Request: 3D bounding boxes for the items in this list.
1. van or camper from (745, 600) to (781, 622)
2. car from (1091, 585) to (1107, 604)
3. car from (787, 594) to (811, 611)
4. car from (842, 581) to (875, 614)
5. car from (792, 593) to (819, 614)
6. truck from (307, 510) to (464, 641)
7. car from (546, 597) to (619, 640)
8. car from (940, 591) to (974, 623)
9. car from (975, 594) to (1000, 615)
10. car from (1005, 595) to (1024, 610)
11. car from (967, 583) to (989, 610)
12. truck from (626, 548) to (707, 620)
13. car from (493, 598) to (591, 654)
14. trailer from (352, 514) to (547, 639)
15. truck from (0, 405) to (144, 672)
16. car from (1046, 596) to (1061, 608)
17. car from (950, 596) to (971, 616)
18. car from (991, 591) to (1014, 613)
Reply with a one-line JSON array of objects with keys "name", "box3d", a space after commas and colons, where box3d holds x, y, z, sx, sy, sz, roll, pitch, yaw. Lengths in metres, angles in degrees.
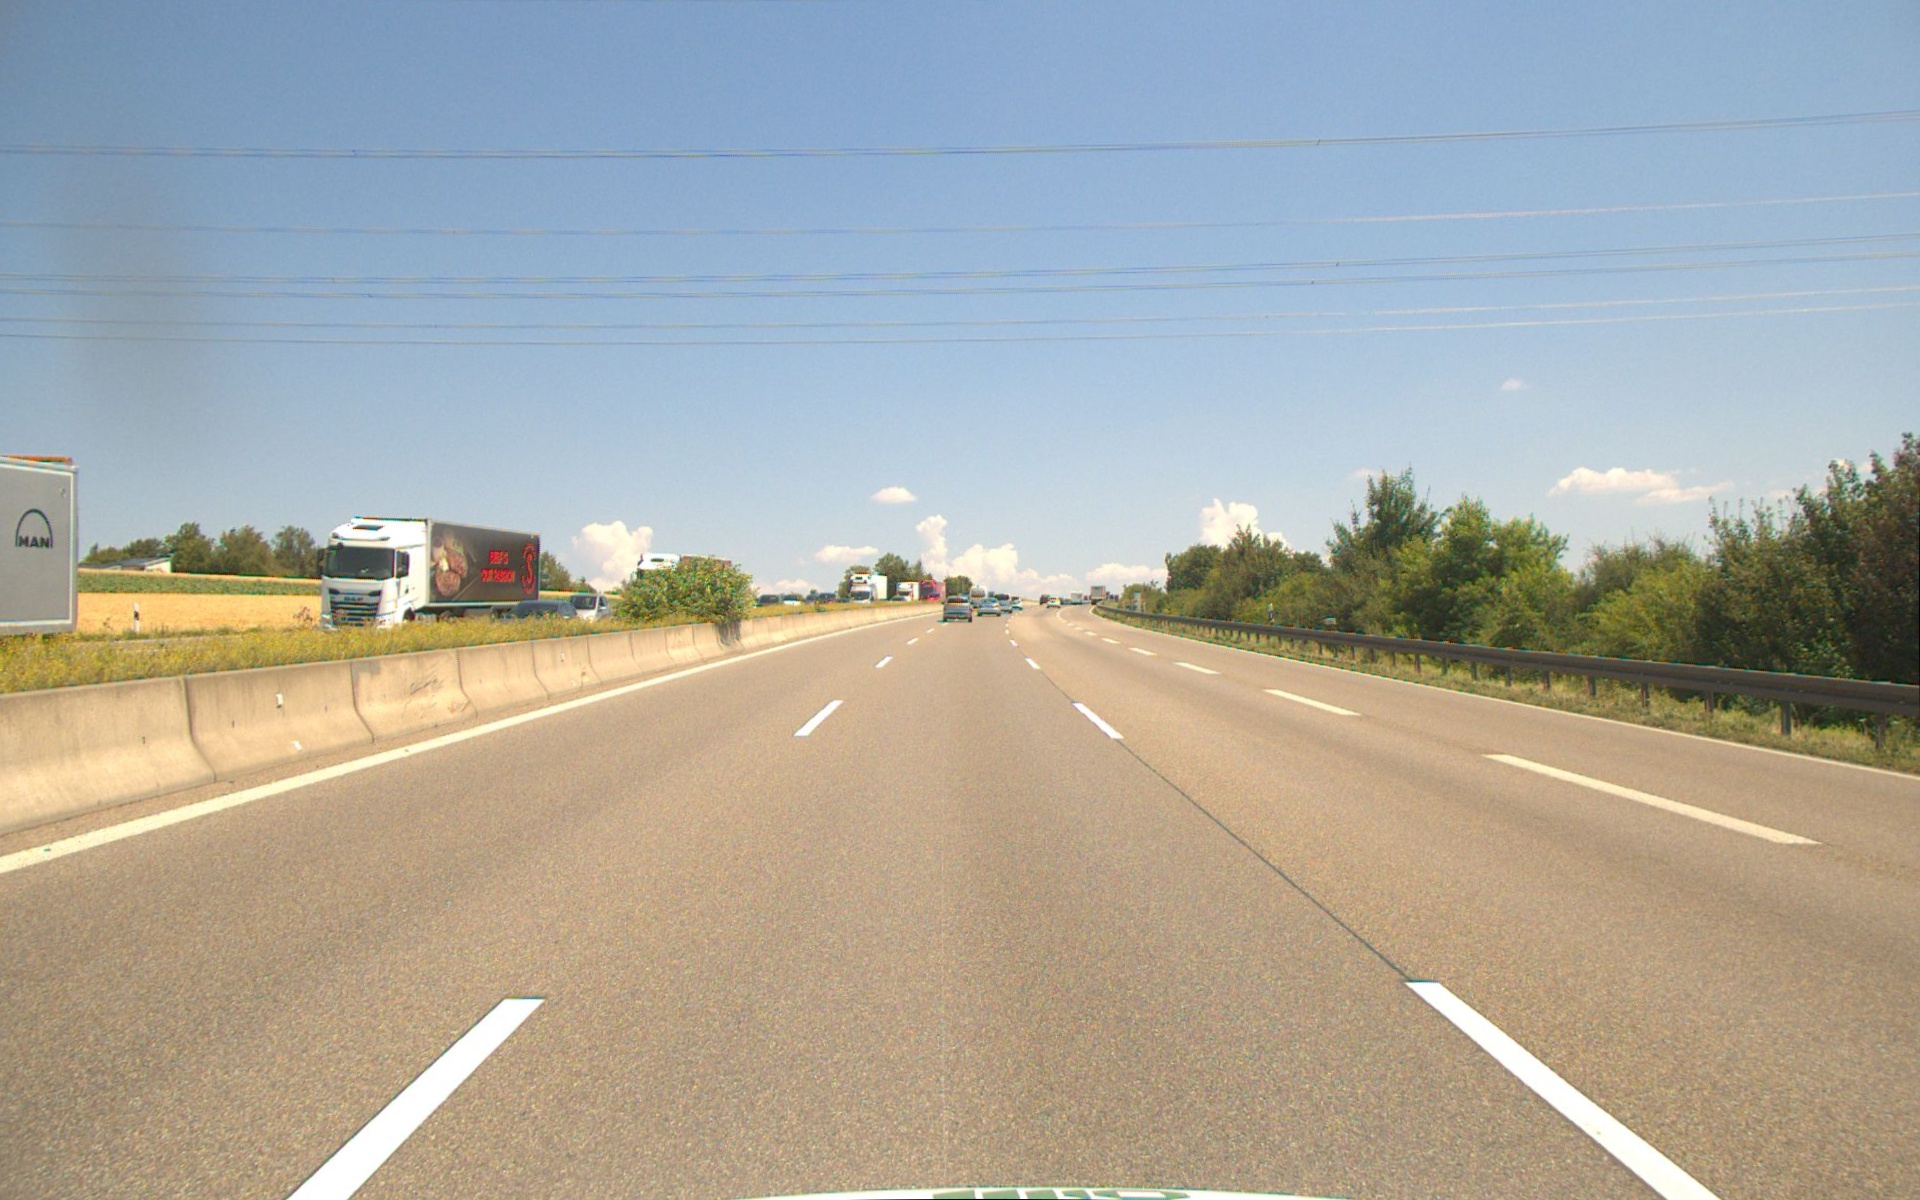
[{"name": "van or camper", "box3d": [-13.737, 0.760, 115.393, 1.952, 1.478, 4.000, 0, 0, 0]}, {"name": "car", "box3d": [17.396, -0.642, 207.252, 1.951, 2.341, 6.266, 0, 0, 4]}, {"name": "car", "box3d": [-16.320, 0.264, 168.011, 1.952, 1.646, 4.001, 1, 0, 1]}, {"name": "car", "box3d": [-8.862, -0.210, 144.669, 2.355, 2.726, 6.037, 1, 0, 1]}, {"name": "car", "box3d": [-13.776, 0.307, 147.813, 1.952, 1.881, 4.000, 1, 0, 1]}, {"name": "truck", "box3d": [-19.149, -0.767, 55.542, 2.794, 4.098, 6.515, 1, 0, 1]}, {"name": "car", "box3d": [-14.733, 0.701, 64.766, 1.953, 1.606, 4.000, 1, 0, 0]}, {"name": "car", "box3d": [-0.203, 0.425, 102.438, 1.953, 1.781, 3.998, 1, -3, -1]}, {"name": "car", "box3d": [2.221, 0.393, 132.019, 1.952, 1.613, 4.000, 0, -1, 1]}, {"name": "car", "box3d": [6.331, 0.296, 192.286, 1.952, 1.579, 4.002, 2, 0, 4]}, {"name": "car", "box3d": [1.950, -0.343, 179.284, 2.134, 2.671, 4.673, 1, -3, 2]}, {"name": "truck", "box3d": [-18.233, -0.958, 103.566, 2.827, 4.244, 10.625, 1, 0, 2]}, {"name": "car", "box3d": [-11.801, 0.705, 46.940, 1.750, 1.493, 4.000, 1, 0, 0]}, {"name": "trailer", "box3d": [-18.976, -0.775, 62.839, 2.735, 4.177, 14.009, 1, 0, 1]}, {"name": "truck", "box3d": [-15.124, -0.894, 23.861, 2.876, 3.809, 7.778, 1, 0, -1]}, {"name": "car", "box3d": [12.306, 0.232, 218.391, 1.862, 1.467, 4.002, 1, 0, 4]}, {"name": "car", "box3d": [0.083, 0.597, 162.846, 1.809, 1.893, 4.207, 1, 1, 3]}, {"name": "car", "box3d": [4.004, 0.216, 155.306, 1.952, 1.937, 4.001, 0, -2, 4]}]
